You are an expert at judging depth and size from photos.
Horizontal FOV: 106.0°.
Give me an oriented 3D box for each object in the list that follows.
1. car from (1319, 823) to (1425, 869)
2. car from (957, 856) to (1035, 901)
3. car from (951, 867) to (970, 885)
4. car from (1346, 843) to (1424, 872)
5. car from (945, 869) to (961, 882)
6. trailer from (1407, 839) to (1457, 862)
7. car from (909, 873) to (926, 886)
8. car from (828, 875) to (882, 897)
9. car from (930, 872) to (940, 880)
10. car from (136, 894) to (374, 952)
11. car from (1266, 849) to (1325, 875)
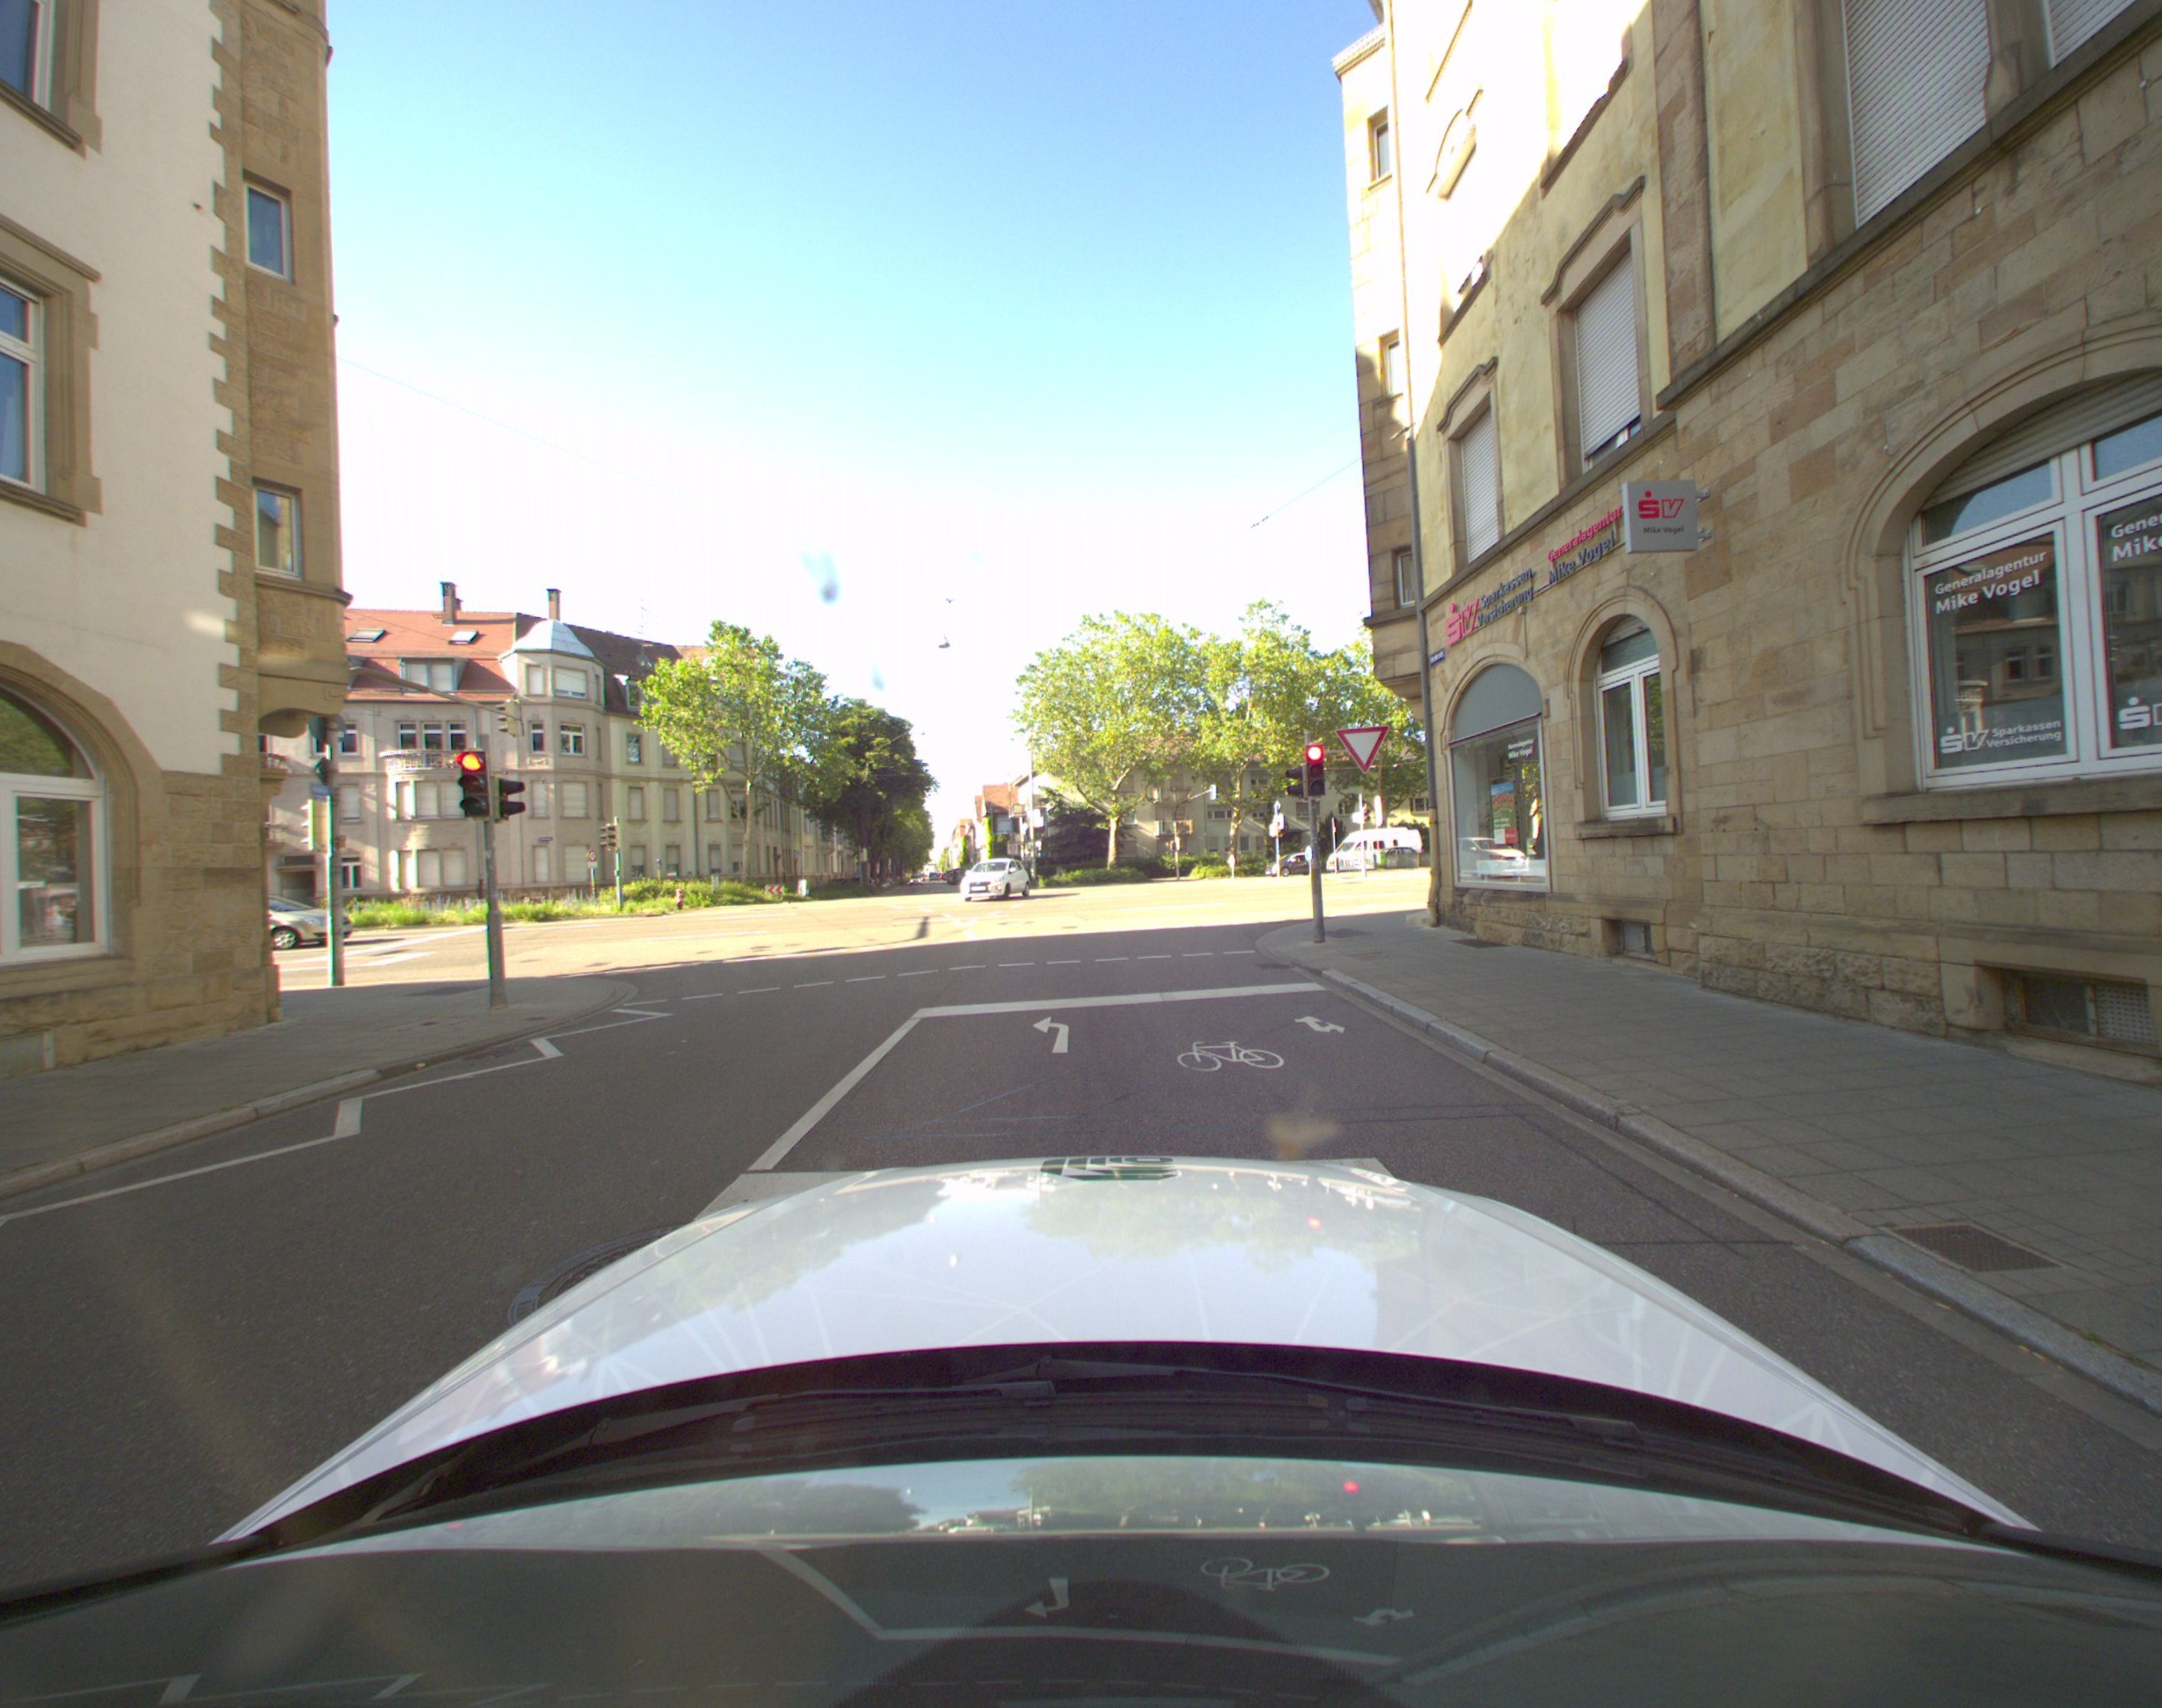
[{"bbox_3d":[18.055,-0.494,50.538,6.054,2.568,1.989,-3,0,-17],"label":"car"},{"bbox_3d":[-3.084,0.873,30.364,1.613,1.472,3.814,-3,0,14],"label":"car"},{"bbox_3d":[-14.105,2.558,95.226,1.992,2.013,3.989,-3,0,-8],"label":"car"},{"bbox_3d":[17.717,0.196,47.541,3.994,1.451,1.650,-3,0,-15],"label":"car"},{"bbox_3d":[-19.839,3.319,126.010,1.996,1.833,3.980,-1,-1,-14],"label":"car"},{"bbox_3d":[22.330,-0.203,51.791,2.747,1.311,1.263,-3,0,-17],"label":"trailer"},{"bbox_3d":[-21.504,3.322,107.076,1.995,1.445,3.983,-3,0,-12],"label":"car"},{"bbox_3d":[-17.843,2.537,64.428,3.997,1.486,1.672,-3,0,-17],"label":"car"},{"bbox_3d":[-27.477,4.080,152.975,1.673,1.483,3.511,-2,-1,-8],"label":"car"},{"bbox_3d":[-21.669,1.779,21.575,3.995,1.319,1.812,0,-1,-16],"label":"car"},{"bbox_3d":[13.785,0.533,52.415,3.391,1.487,1.515,-3,0,-20],"label":"car"}]
